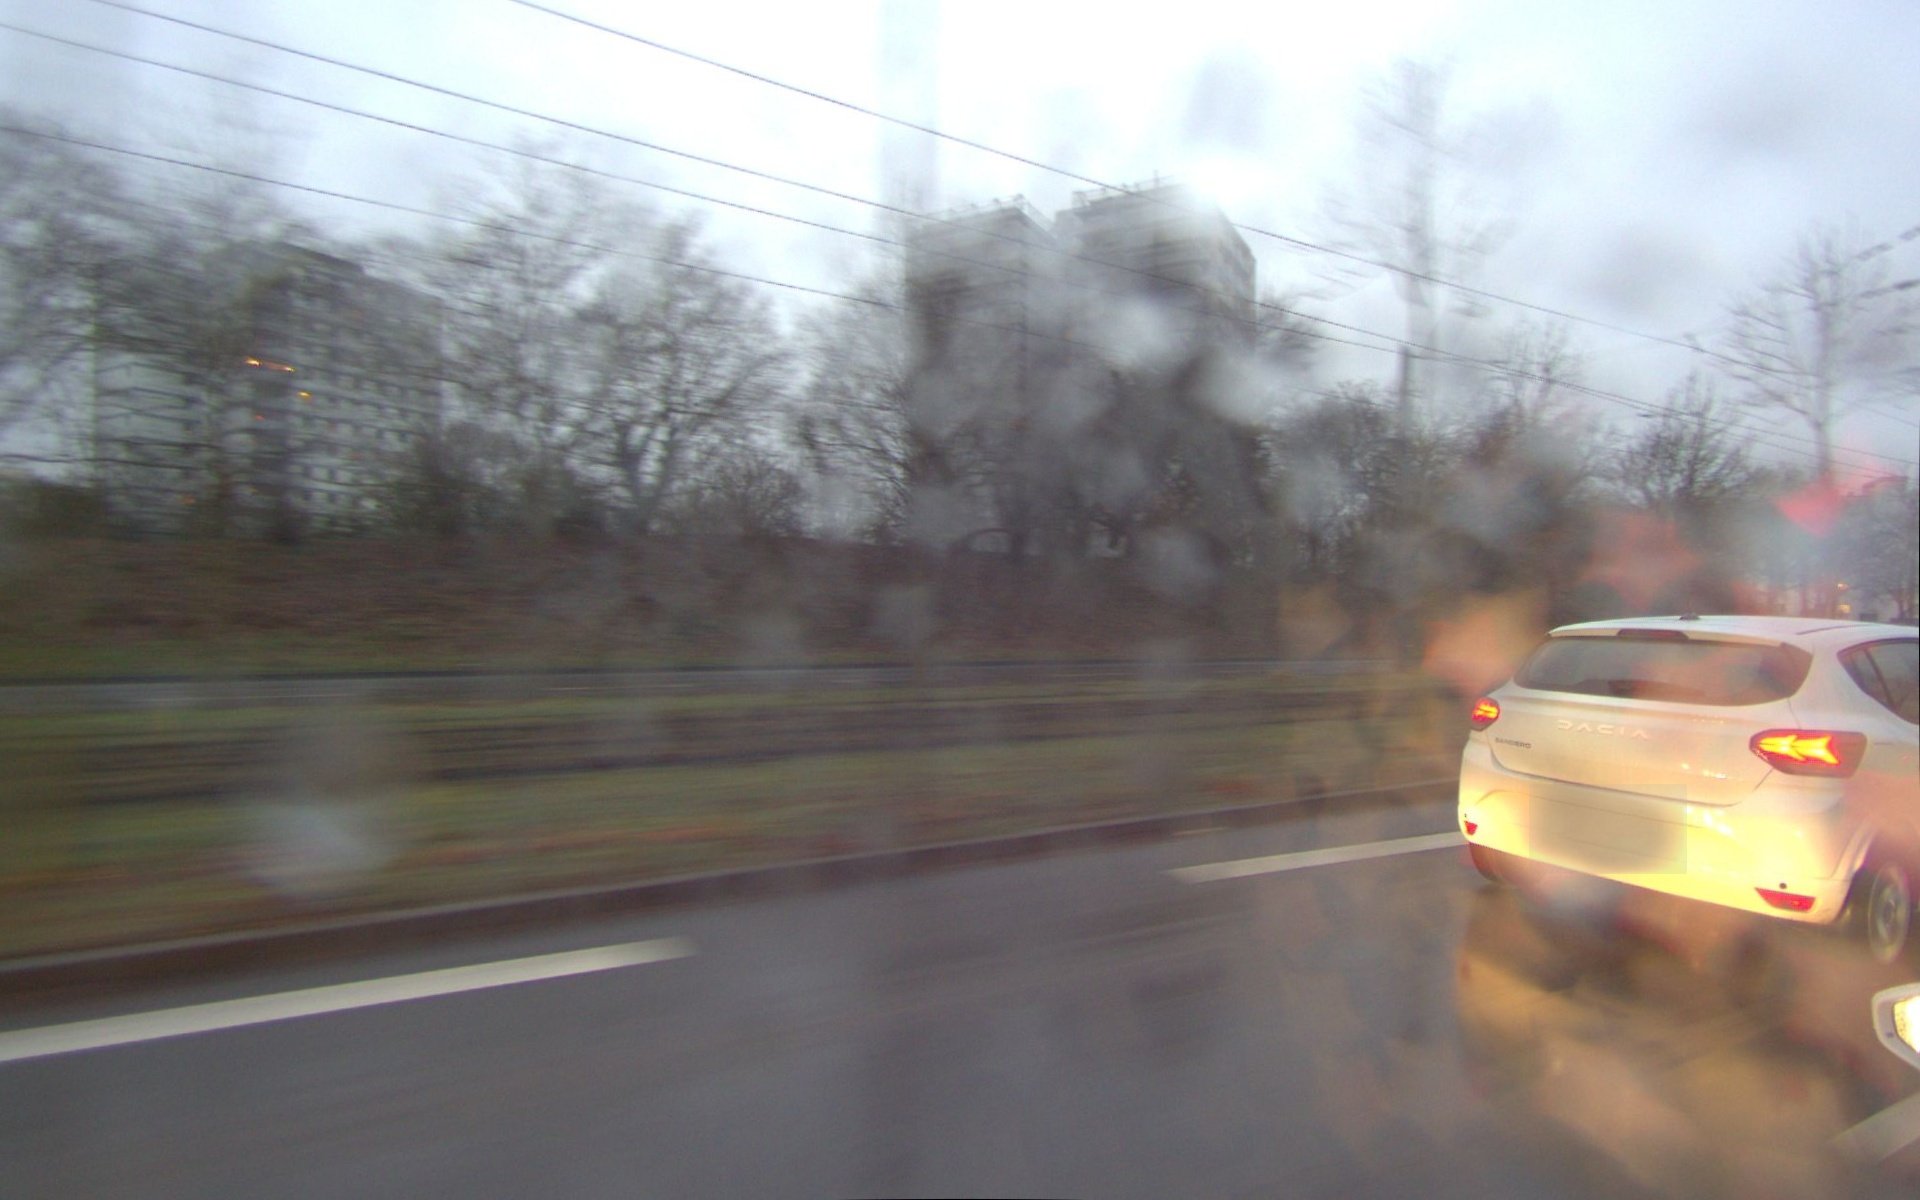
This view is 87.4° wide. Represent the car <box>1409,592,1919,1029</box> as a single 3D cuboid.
[{"bbox_3d":[4.428,0.792,5.351,4.087,1.545,1.700,1,-1,-31],"label":"car"}]
